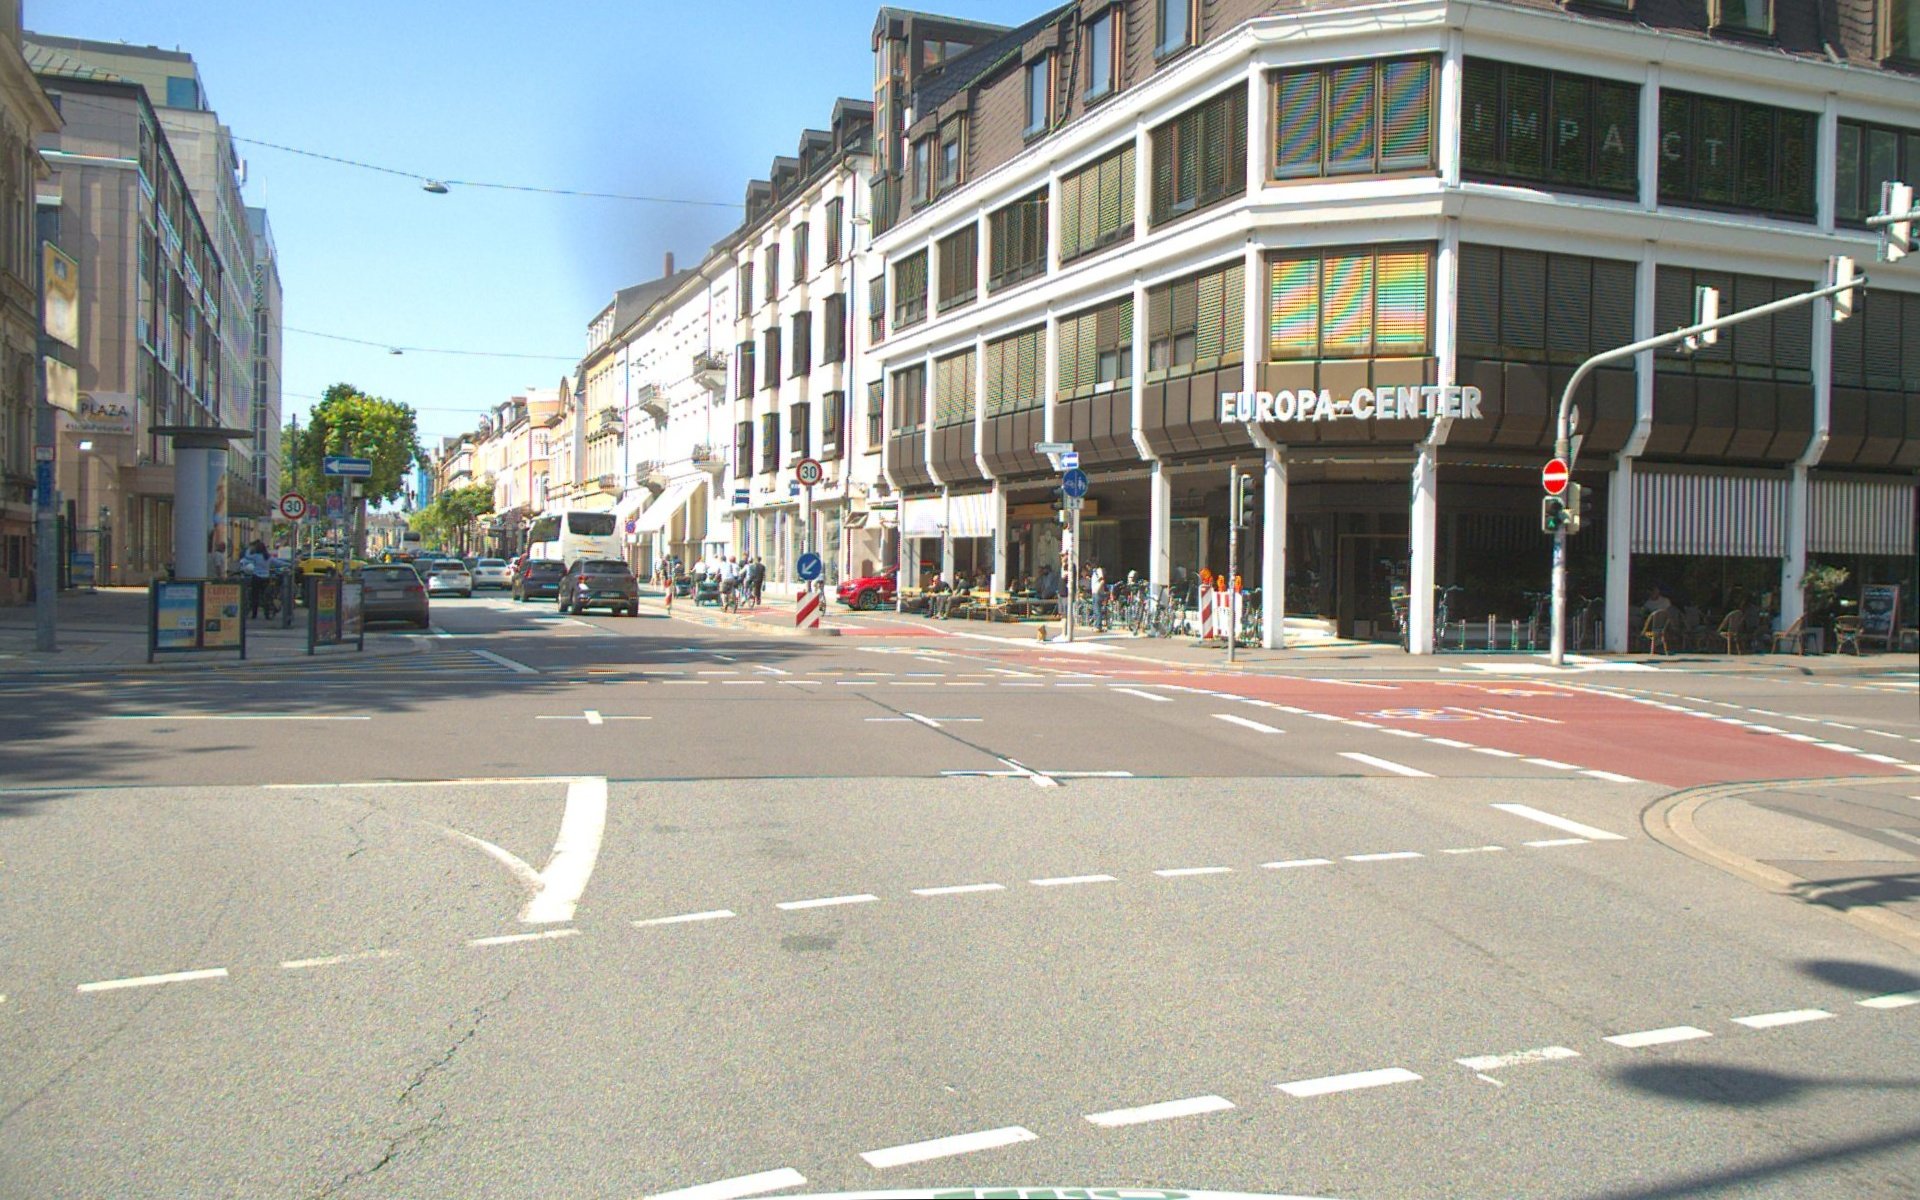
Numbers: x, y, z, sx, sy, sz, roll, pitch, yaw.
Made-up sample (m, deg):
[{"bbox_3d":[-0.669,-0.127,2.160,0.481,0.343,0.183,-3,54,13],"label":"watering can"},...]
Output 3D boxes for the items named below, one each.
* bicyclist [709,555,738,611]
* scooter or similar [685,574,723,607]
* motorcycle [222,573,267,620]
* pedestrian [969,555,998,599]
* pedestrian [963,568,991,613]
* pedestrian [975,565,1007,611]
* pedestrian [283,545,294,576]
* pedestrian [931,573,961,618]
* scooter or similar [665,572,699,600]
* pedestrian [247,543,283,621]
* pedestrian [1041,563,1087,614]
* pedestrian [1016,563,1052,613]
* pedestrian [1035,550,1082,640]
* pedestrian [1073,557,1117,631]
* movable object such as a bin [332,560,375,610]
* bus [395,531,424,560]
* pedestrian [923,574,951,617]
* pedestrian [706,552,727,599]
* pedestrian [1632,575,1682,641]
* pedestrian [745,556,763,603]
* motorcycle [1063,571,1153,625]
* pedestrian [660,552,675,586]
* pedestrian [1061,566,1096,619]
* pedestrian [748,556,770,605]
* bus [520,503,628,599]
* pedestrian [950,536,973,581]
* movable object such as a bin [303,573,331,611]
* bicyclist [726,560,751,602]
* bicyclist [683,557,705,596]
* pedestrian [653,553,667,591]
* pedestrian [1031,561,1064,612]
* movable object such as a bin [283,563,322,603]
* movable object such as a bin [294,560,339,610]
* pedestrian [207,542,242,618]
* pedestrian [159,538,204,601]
[{"bbox_3d":[-7.472,-0.554,52.273,0.684,1.702,0.911,3,1,-20],"label":"bicyclist"},{"bbox_3d":[-9.059,-0.338,58.488,0.948,1.155,1.575,1,1,-23],"label":"scooter or similar"},{"bbox_3d":[-16.259,-0.080,37.631,0.445,1.015,2.155,2,0,-11],"label":"motorcycle"},{"bbox_3d":[0.738,-0.725,51.967,0.734,1.391,0.580,0,1,-22],"label":"pedestrian"},{"bbox_3d":[0.526,-0.292,51.307,0.750,1.391,0.475,0,1,-22],"label":"pedestrian"},{"bbox_3d":[0.951,-0.368,50.983,0.865,1.391,0.533,0,1,-22],"label":"pedestrian"},{"bbox_3d":[-37.537,-2.202,92.474,0.558,1.686,0.632,0,1,-24],"label":"pedestrian"},{"bbox_3d":[-0.385,-0.123,45.943,0.699,1.238,0.694,0,0,-12],"label":"pedestrian"},{"bbox_3d":[-11.080,-0.556,65.900,1.106,1.121,1.078,1,1,-22],"label":"scooter or similar"},{"bbox_3d":[-15.657,-0.404,37.277,0.684,1.725,0.687,0,0,-18],"label":"pedestrian"},{"bbox_3d":[2.846,-0.307,45.464,0.883,1.374,1.098,0,0,-22],"label":"pedestrian"},{"bbox_3d":[2.106,-0.349,47.297,0.802,1.421,0.692,0,0,-23],"label":"pedestrian"},{"bbox_3d":[2.064,-0.097,34.755,0.818,1.868,0.694,0,-1,-12],"label":"pedestrian"},{"bbox_3d":[3.090,-0.140,37.882,0.818,1.692,0.694,0,0,-12],"label":"pedestrian"},{"bbox_3d":[-19.217,-0.481,52.442,1.105,1.476,1.433,2,2,-15],"label":"movable object such as a bin"},{"bbox_3d":[-70.692,-6.979,212.291,2.733,3.667,8.909,0,2,-23],"label":"bus"},{"bbox_3d":[-0.654,-0.119,46.752,0.699,1.193,0.694,0,0,-12],"label":"pedestrian"},{"bbox_3d":[-9.040,-0.911,61.313,0.611,1.749,0.830,0,1,-20],"label":"pedestrian"},{"bbox_3d":[14.806,0.158,35.117,0.812,1.358,0.969,1,1,33],"label":"pedestrian"},{"bbox_3d":[-8.397,-0.838,67.384,0.682,1.883,0.833,0,0,-12],"label":"pedestrian"},{"bbox_3d":[3.663,-0.050,40.918,2.188,1.313,0.949,0,0,7],"label":"motorcycle"},{"bbox_3d":[-14.345,-1.537,81.143,0.635,1.645,0.818,1,0,-18],"label":"pedestrian"},{"bbox_3d":[3.196,-0.196,44.576,0.701,1.421,0.692,0,0,-22],"label":"pedestrian"},{"bbox_3d":[-7.247,-0.697,59.579,0.610,1.749,0.831,1,0,-18],"label":"pedestrian"},{"bbox_3d":[-17.385,-2.157,73.821,2.841,3.807,12.347,2,1,-21],"label":"bus"},{"bbox_3d":[0.043,-1.279,51.615,0.527,1.391,0.685,0,1,-20],"label":"pedestrian"},{"bbox_3d":[-19.730,-0.261,50.740,0.714,1.117,0.650,2,2,-28],"label":"movable object such as a bin"},{"bbox_3d":[-7.317,-0.619,54.730,0.612,1.378,0.841,1,0,-22],"label":"bicyclist"},{"bbox_3d":[-9.680,-0.848,60.114,0.612,1.394,0.775,1,0,-22],"label":"bicyclist"},{"bbox_3d":[-14.550,-1.352,80.144,0.564,1.809,1.015,0,0,-18],"label":"pedestrian"},{"bbox_3d":[2.460,-0.377,46.537,0.701,1.421,0.692,0,0,-22],"label":"pedestrian"},{"bbox_3d":[-23.016,-0.602,57.946,1.191,1.322,1.073,2,2,-21],"label":"movable object such as a bin"},{"bbox_3d":[-20.287,-0.480,52.140,1.105,1.476,1.433,2,2,-15],"label":"movable object such as a bin"},{"bbox_3d":[-16.671,-0.440,37.488,0.539,1.694,0.934,0,0,-12],"label":"pedestrian"},{"bbox_3d":[-22.542,-0.871,47.908,0.993,1.804,0.774,0,1,-41],"label":"pedestrian"}]
